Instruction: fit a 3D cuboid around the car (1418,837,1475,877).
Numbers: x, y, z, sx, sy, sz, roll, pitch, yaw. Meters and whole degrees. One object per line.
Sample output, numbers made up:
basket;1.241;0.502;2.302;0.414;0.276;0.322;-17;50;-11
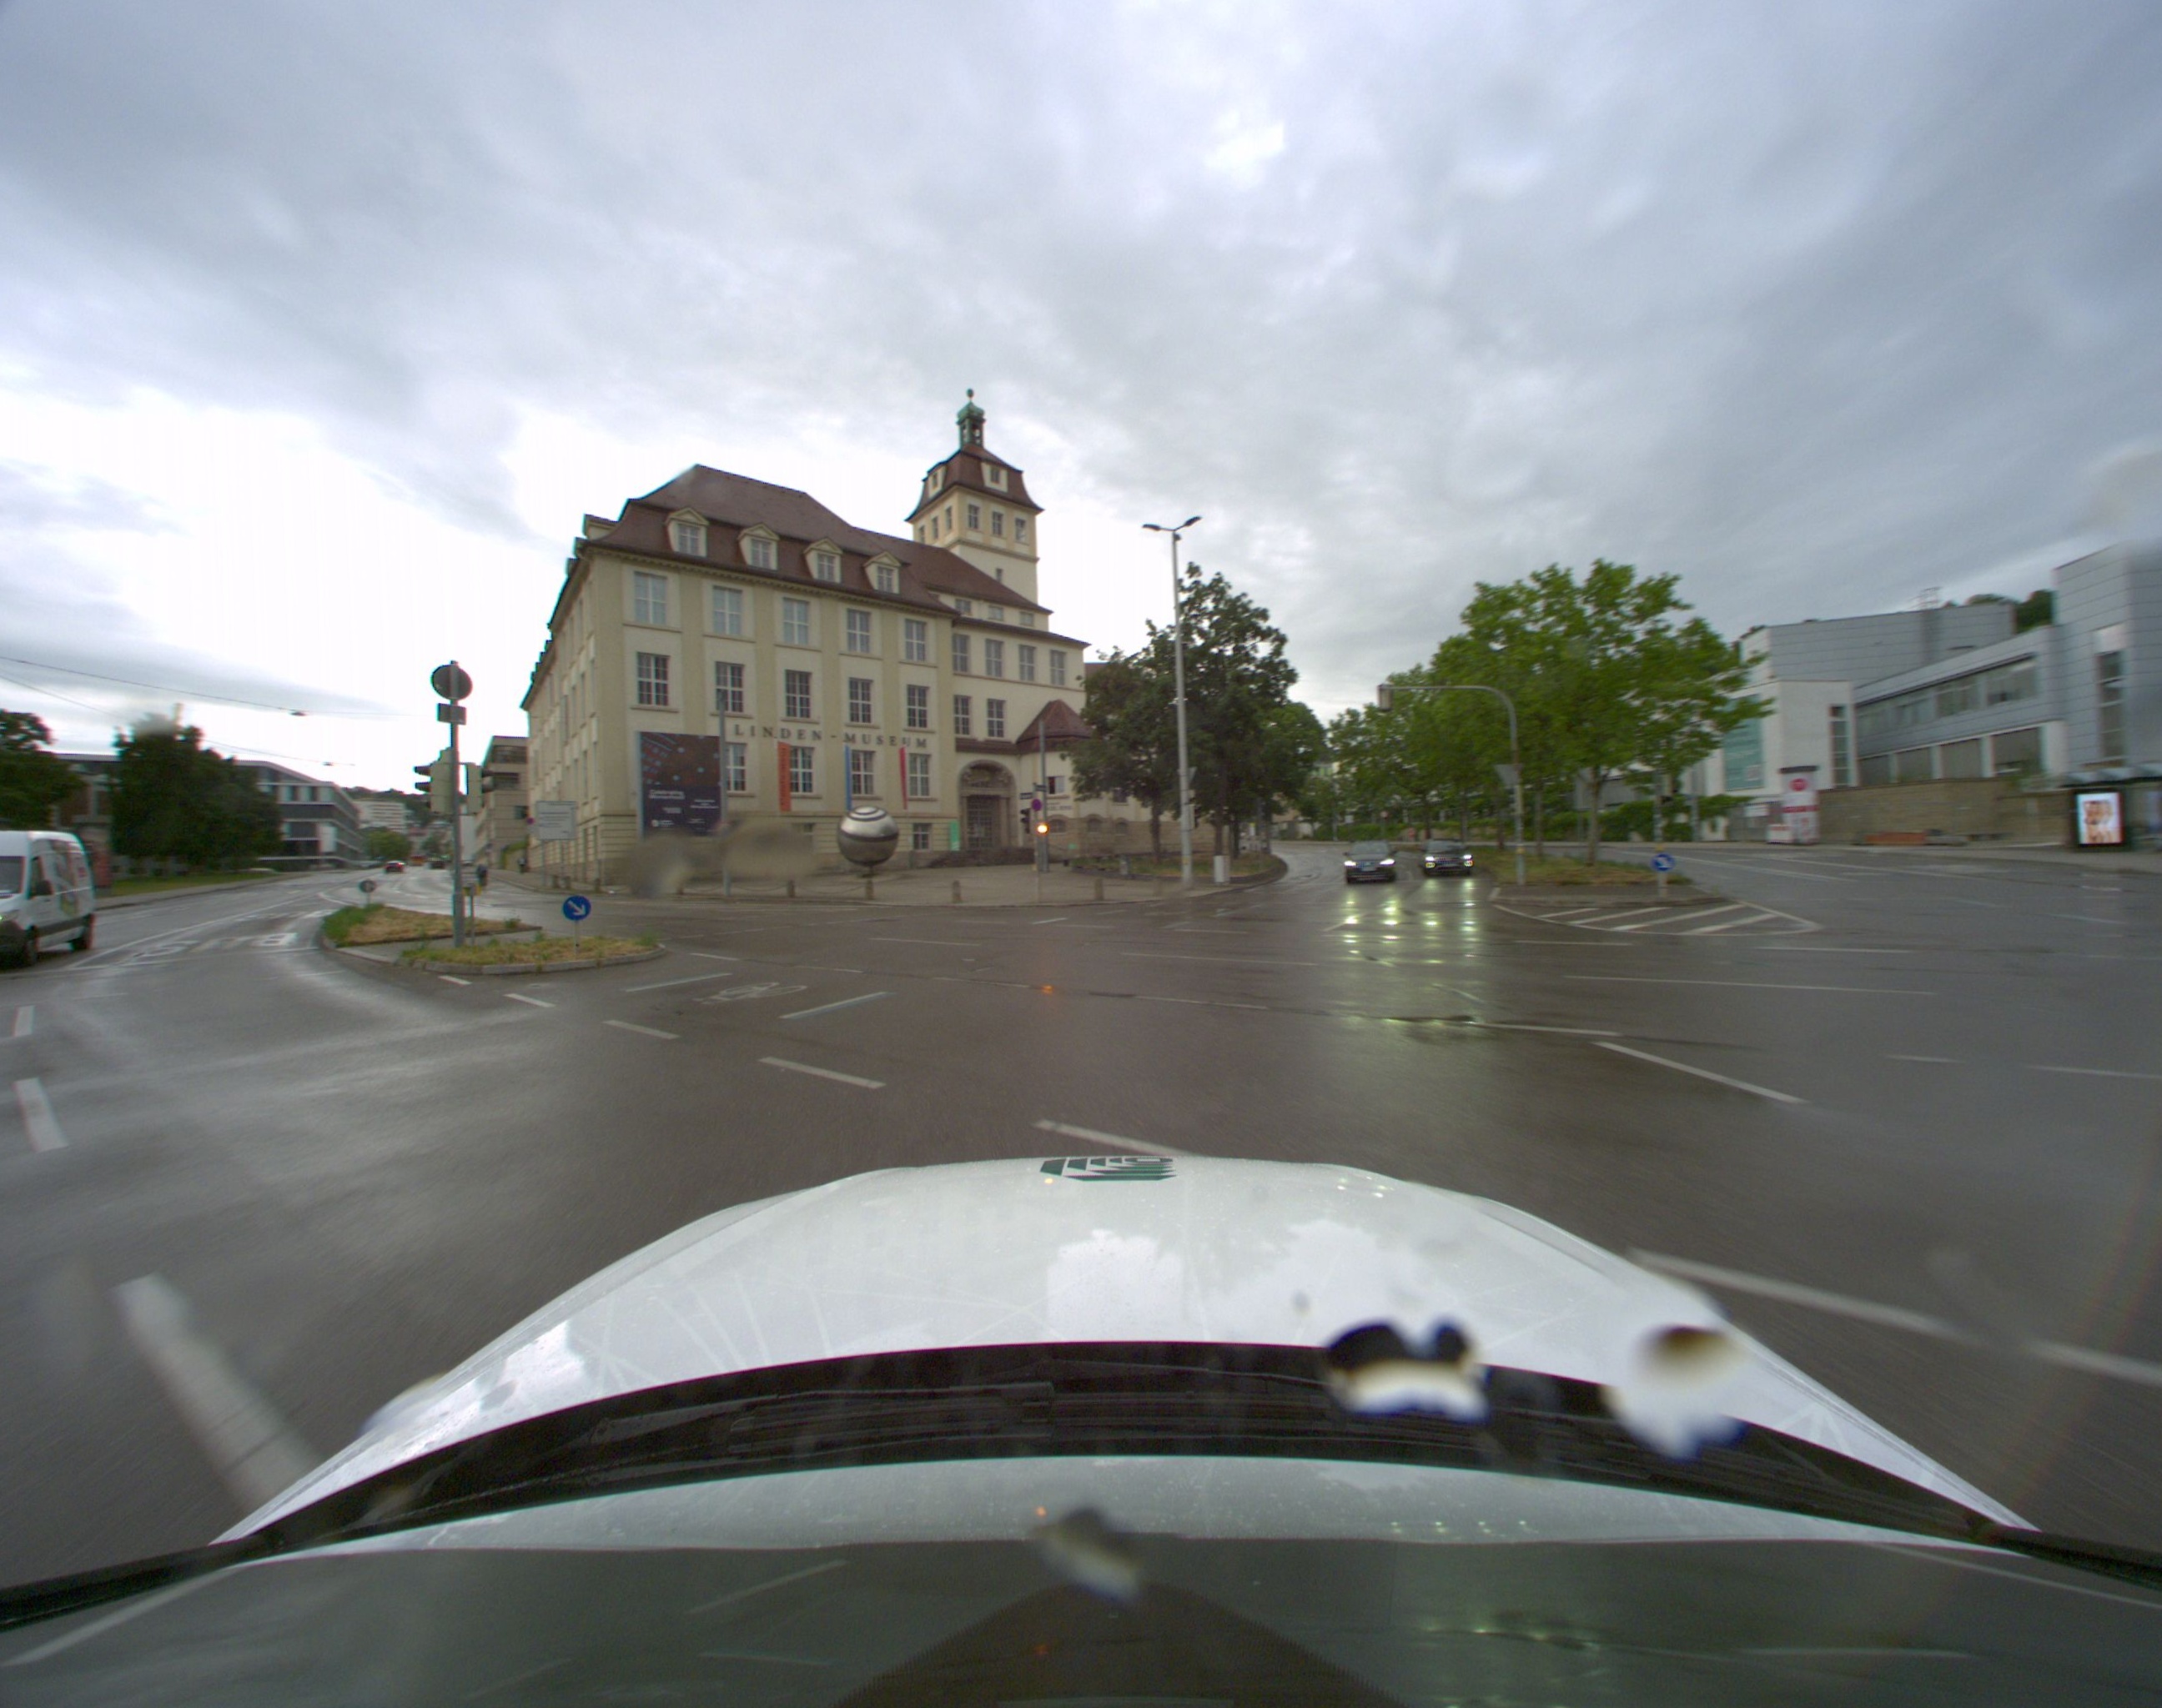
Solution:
car;15.508;0.084;34.741;1.774;1.585;4.019;-2;0;18

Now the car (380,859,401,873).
car;-85.866;1.498;101.272;1.908;1.625;3.605;0;1;-38

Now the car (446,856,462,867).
car;-96.298;1.076;125.064;1.853;1.559;3.955;0;1;-38

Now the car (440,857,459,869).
car;-84.891;1.204;109.526;1.852;1.559;3.957;0;1;-35

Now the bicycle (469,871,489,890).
bicycle;-35.231;1.526;47.672;1.798;1.056;0.652;-1;0;44

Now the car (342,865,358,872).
car;-137.668;2.740;153.380;1.853;1.235;3.379;0;1;-35

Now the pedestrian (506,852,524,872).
pedestrian;-52.370;0.716;75.395;1.249;1.788;1.578;-4;2;-36

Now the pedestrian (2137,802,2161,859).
pedestrian;33.395;-0.721;24.825;1.245;1.719;1.023;0;0;38

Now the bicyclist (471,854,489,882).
bicyclist;-35.246;0.805;47.724;0.706;1.632;1.115;0;0;-44

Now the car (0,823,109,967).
car;-21.323;0.768;15.861;2.077;2.494;5.967;-3;1;-41

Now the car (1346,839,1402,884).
car;11.806;0.267;32.665;1.851;1.564;4.300;-3;1;23
